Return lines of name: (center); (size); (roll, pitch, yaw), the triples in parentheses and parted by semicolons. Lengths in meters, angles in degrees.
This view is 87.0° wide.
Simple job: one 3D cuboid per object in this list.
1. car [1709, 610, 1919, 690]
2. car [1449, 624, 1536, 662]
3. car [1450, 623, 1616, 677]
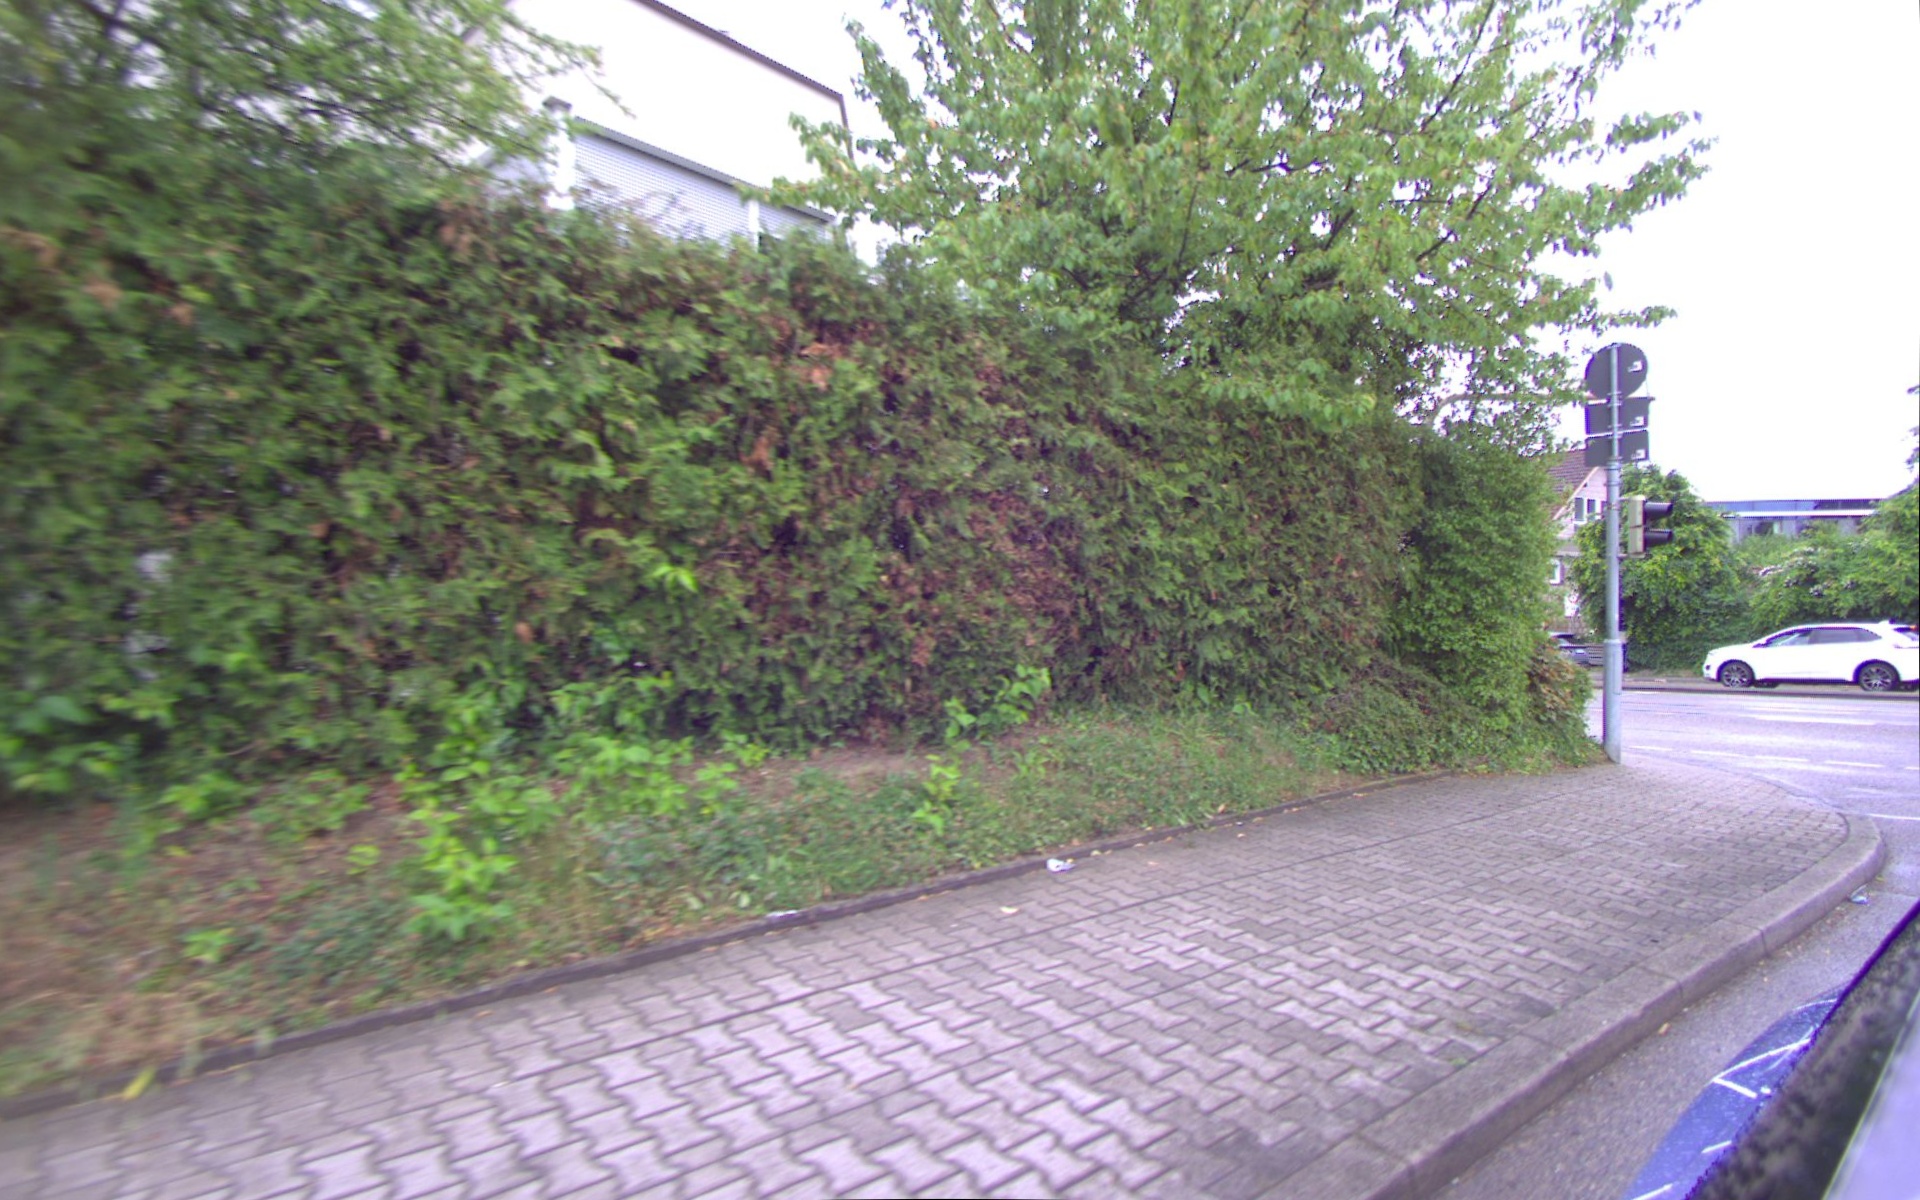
car: (21.683, 1.228, 24.992); (1.960, 1.814, 4.679); (1, -3, -31)
car: (23.175, 1.838, 44.005); (3.502, 1.473, 1.772); (-1, 0, -31)
car: (18.801, 1.639, 33.403); (1.869, 1.661, 4.333); (1, -3, -34)
